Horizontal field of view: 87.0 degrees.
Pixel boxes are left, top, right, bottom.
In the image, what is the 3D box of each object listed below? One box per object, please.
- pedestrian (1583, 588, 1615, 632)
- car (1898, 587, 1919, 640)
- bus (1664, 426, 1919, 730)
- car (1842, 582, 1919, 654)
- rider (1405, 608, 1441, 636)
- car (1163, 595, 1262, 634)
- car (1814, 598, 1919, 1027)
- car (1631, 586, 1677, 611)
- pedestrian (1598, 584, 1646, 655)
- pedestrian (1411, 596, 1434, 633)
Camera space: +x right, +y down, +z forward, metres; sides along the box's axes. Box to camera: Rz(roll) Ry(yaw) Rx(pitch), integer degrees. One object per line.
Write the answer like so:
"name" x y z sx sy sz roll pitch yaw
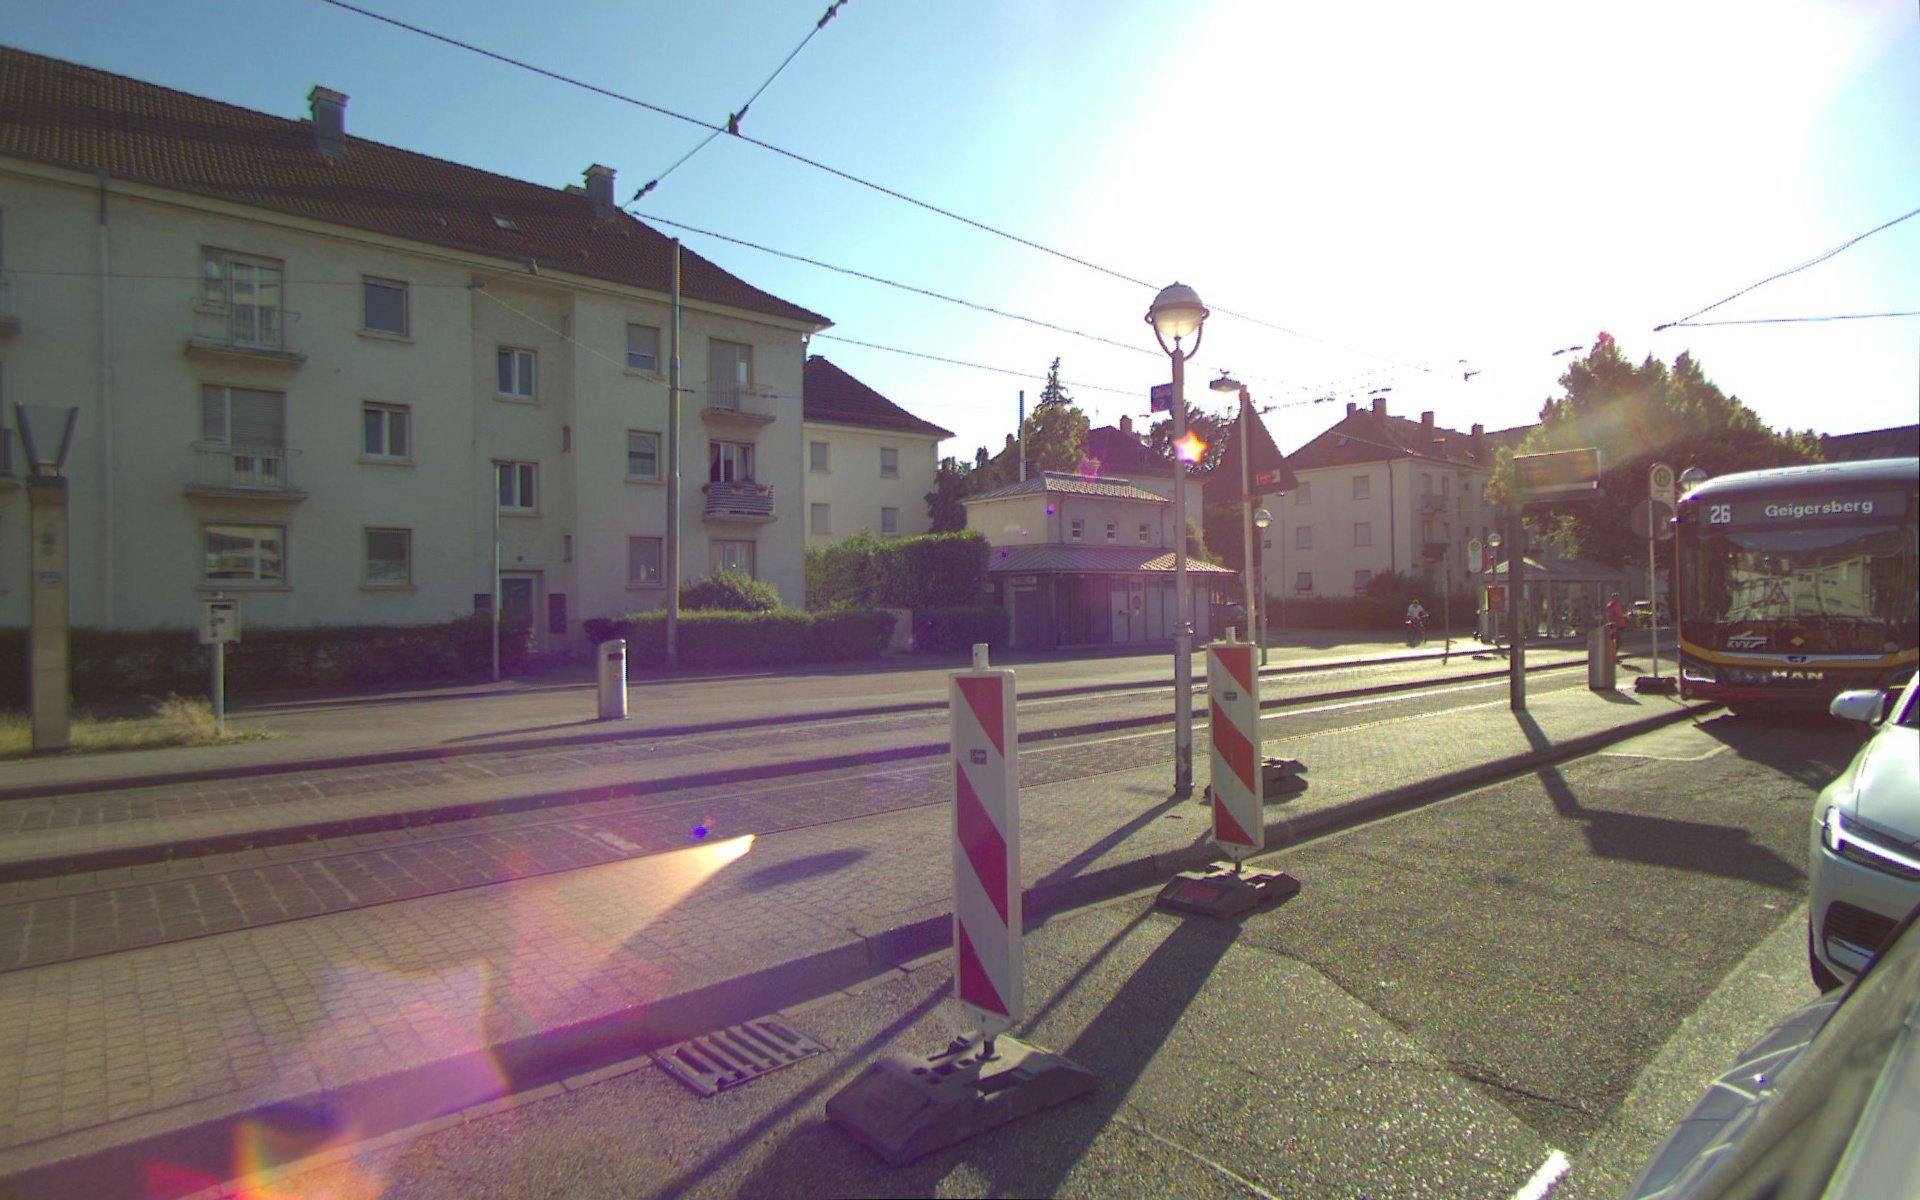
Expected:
"pedestrian" 24.180 0.383 38.309 0.811 1.631 0.841 0 0 -42
"car" 28.787 0.369 29.235 4.740 1.477 1.968 0 0 -41
"bus" 14.320 -0.264 15.852 11.824 3.345 2.745 0 0 -42
"car" 21.228 0.359 22.370 4.740 1.477 1.968 0 0 -41
"rider" 17.831 0.827 39.021 0.570 1.004 1.856 0 0 2
"car" 11.588 0.682 46.673 1.964 1.694 4.050 -1 -1 -39
"car" 5.276 0.731 4.364 4.143 1.472 1.819 0 0 -41
"car" 53.781 -0.108 78.441 3.930 1.887 1.997 -1 0 -41
"pedestrian" 16.633 0.474 25.426 0.811 1.740 0.840 0 0 -44
"pedestrian" 17.827 0.561 39.011 0.570 1.398 0.658 0 0 3
